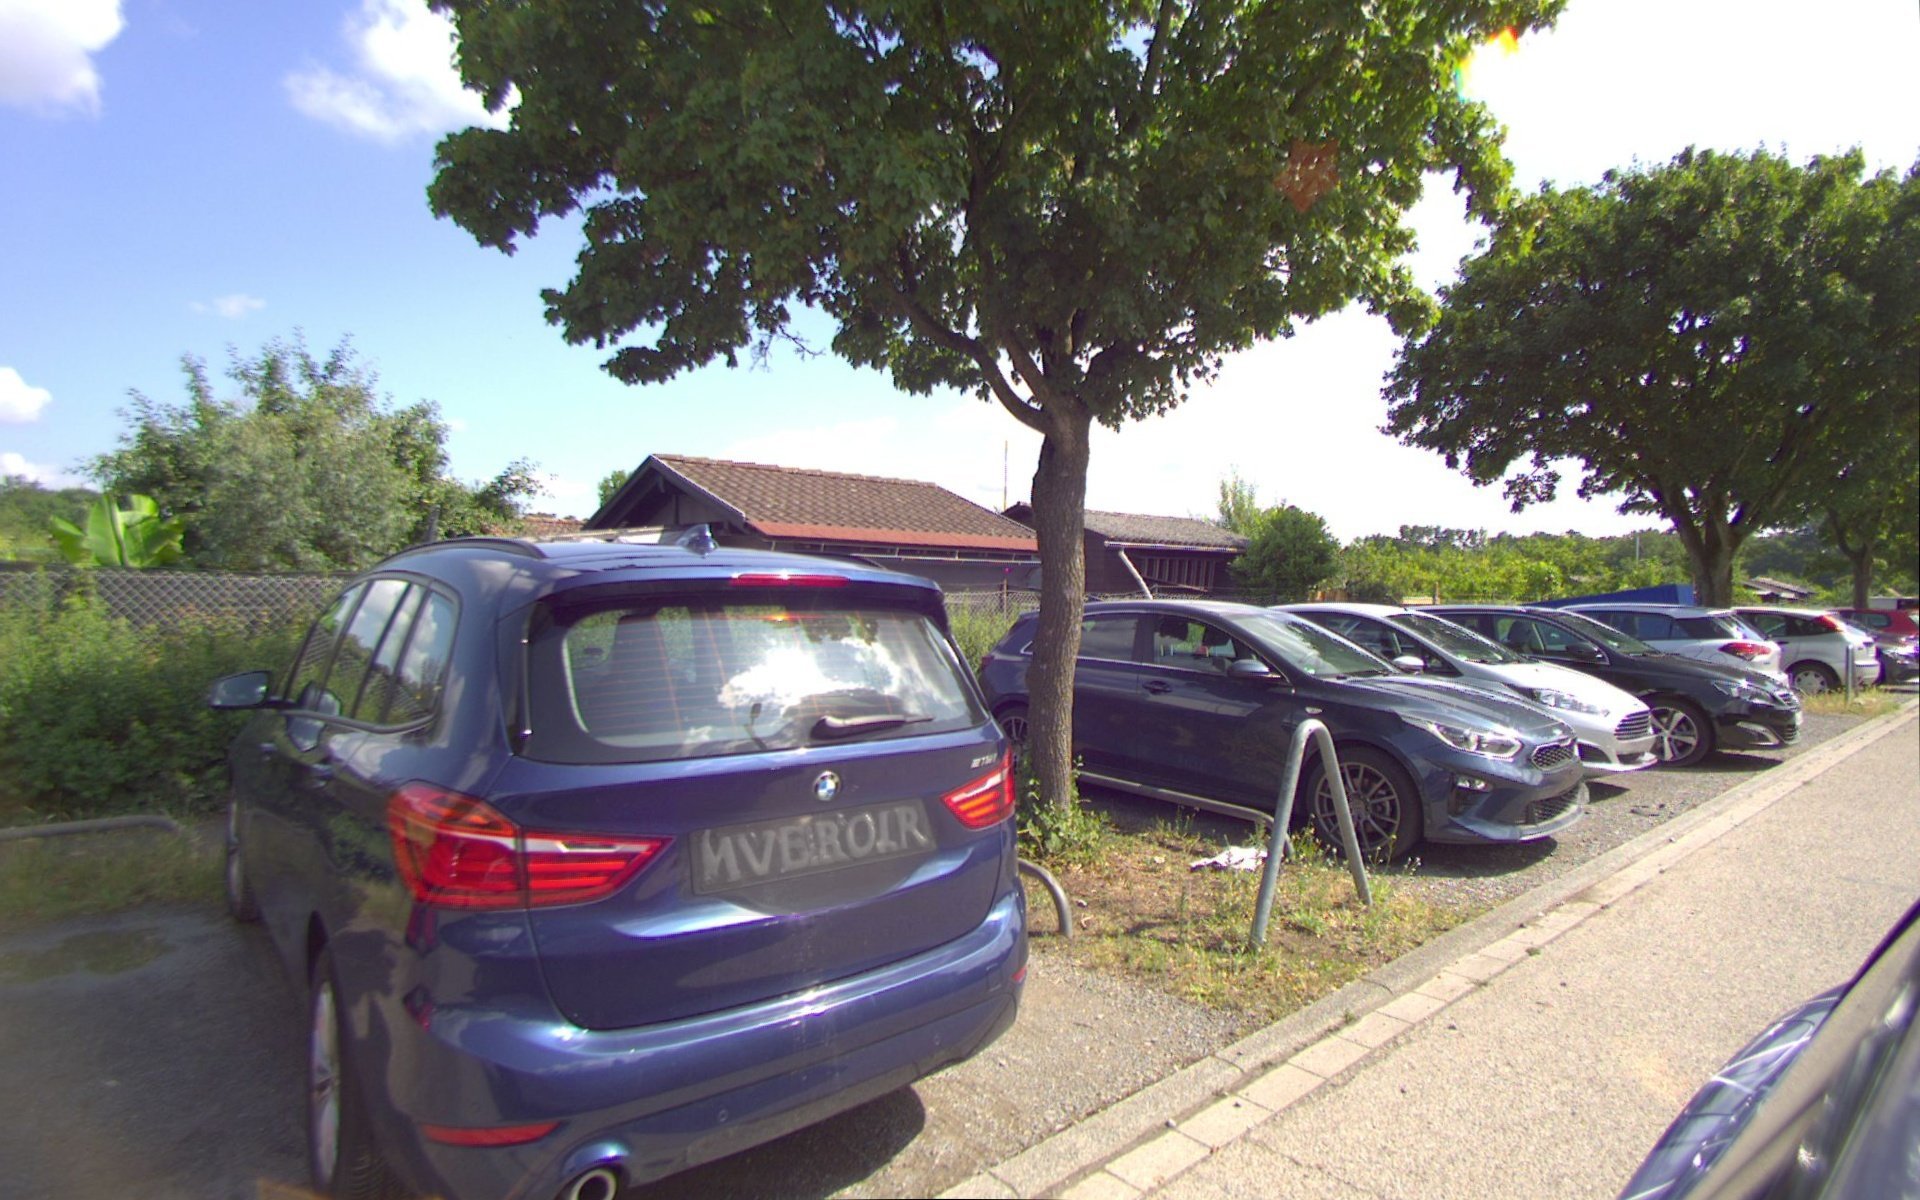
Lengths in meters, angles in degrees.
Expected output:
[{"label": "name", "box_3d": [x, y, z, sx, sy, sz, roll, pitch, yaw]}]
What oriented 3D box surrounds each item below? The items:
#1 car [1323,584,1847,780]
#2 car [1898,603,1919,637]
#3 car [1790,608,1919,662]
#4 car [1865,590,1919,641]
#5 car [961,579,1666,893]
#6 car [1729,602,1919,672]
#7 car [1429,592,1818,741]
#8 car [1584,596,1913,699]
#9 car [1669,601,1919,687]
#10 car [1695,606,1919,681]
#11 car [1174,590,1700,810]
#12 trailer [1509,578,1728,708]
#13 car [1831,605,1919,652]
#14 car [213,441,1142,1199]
[{"label": "car", "box_3d": [6.311, 0.692, 10.632, 1.965, 1.614, 4.308, 0, -1, -41]}, {"label": "car", "box_3d": [44.615, 0.919, 44.687, 1.967, 1.484, 4.582, 1, 0, -44]}, {"label": "car", "box_3d": [26.442, 0.963, 28.773, 1.877, 1.446, 4.240, 0, -1, -44]}, {"label": "car", "box_3d": [37.515, 0.641, 38.311, 2.075, 1.910, 4.641, 1, 1, -42]}, {"label": "car", "box_3d": [2.156, 0.672, 7.172, 1.941, 1.511, 4.342, 0, -1, -41]}, {"label": "car", "box_3d": [20.804, 0.821, 23.804, 1.820, 1.539, 3.997, 0, -1, -37]}, {"label": "car", "box_3d": [8.090, 0.708, 12.552, 1.819, 1.559, 3.726, 0, -1, -44]}, {"label": "car", "box_3d": [13.270, 0.720, 17.247, 1.922, 1.531, 4.074, 0, -1, -38]}, {"label": "car", "box_3d": [16.093, 0.778, 19.184, 1.838, 1.474, 4.069, 0, -1, -43]}, {"label": "car", "box_3d": [18.307, 0.869, 21.541, 1.922, 1.442, 3.920, 0, -1, -38]}, {"label": "car", "box_3d": [4.037, 0.704, 9.025, 1.869, 1.511, 3.818, 0, -1, -41]}, {"label": "trailer", "box_3d": [9.724, 0.598, 15.005, 1.493, 1.743, 2.451, 2, -2, -44]}, {"label": "car", "box_3d": [31.743, 0.916, 33.493, 1.844, 1.523, 4.191, 0, -1, -39]}, {"label": "car", "box_3d": [-1.531, 0.531, 3.795, 1.845, 1.658, 4.164, 0, 1, -39]}]
